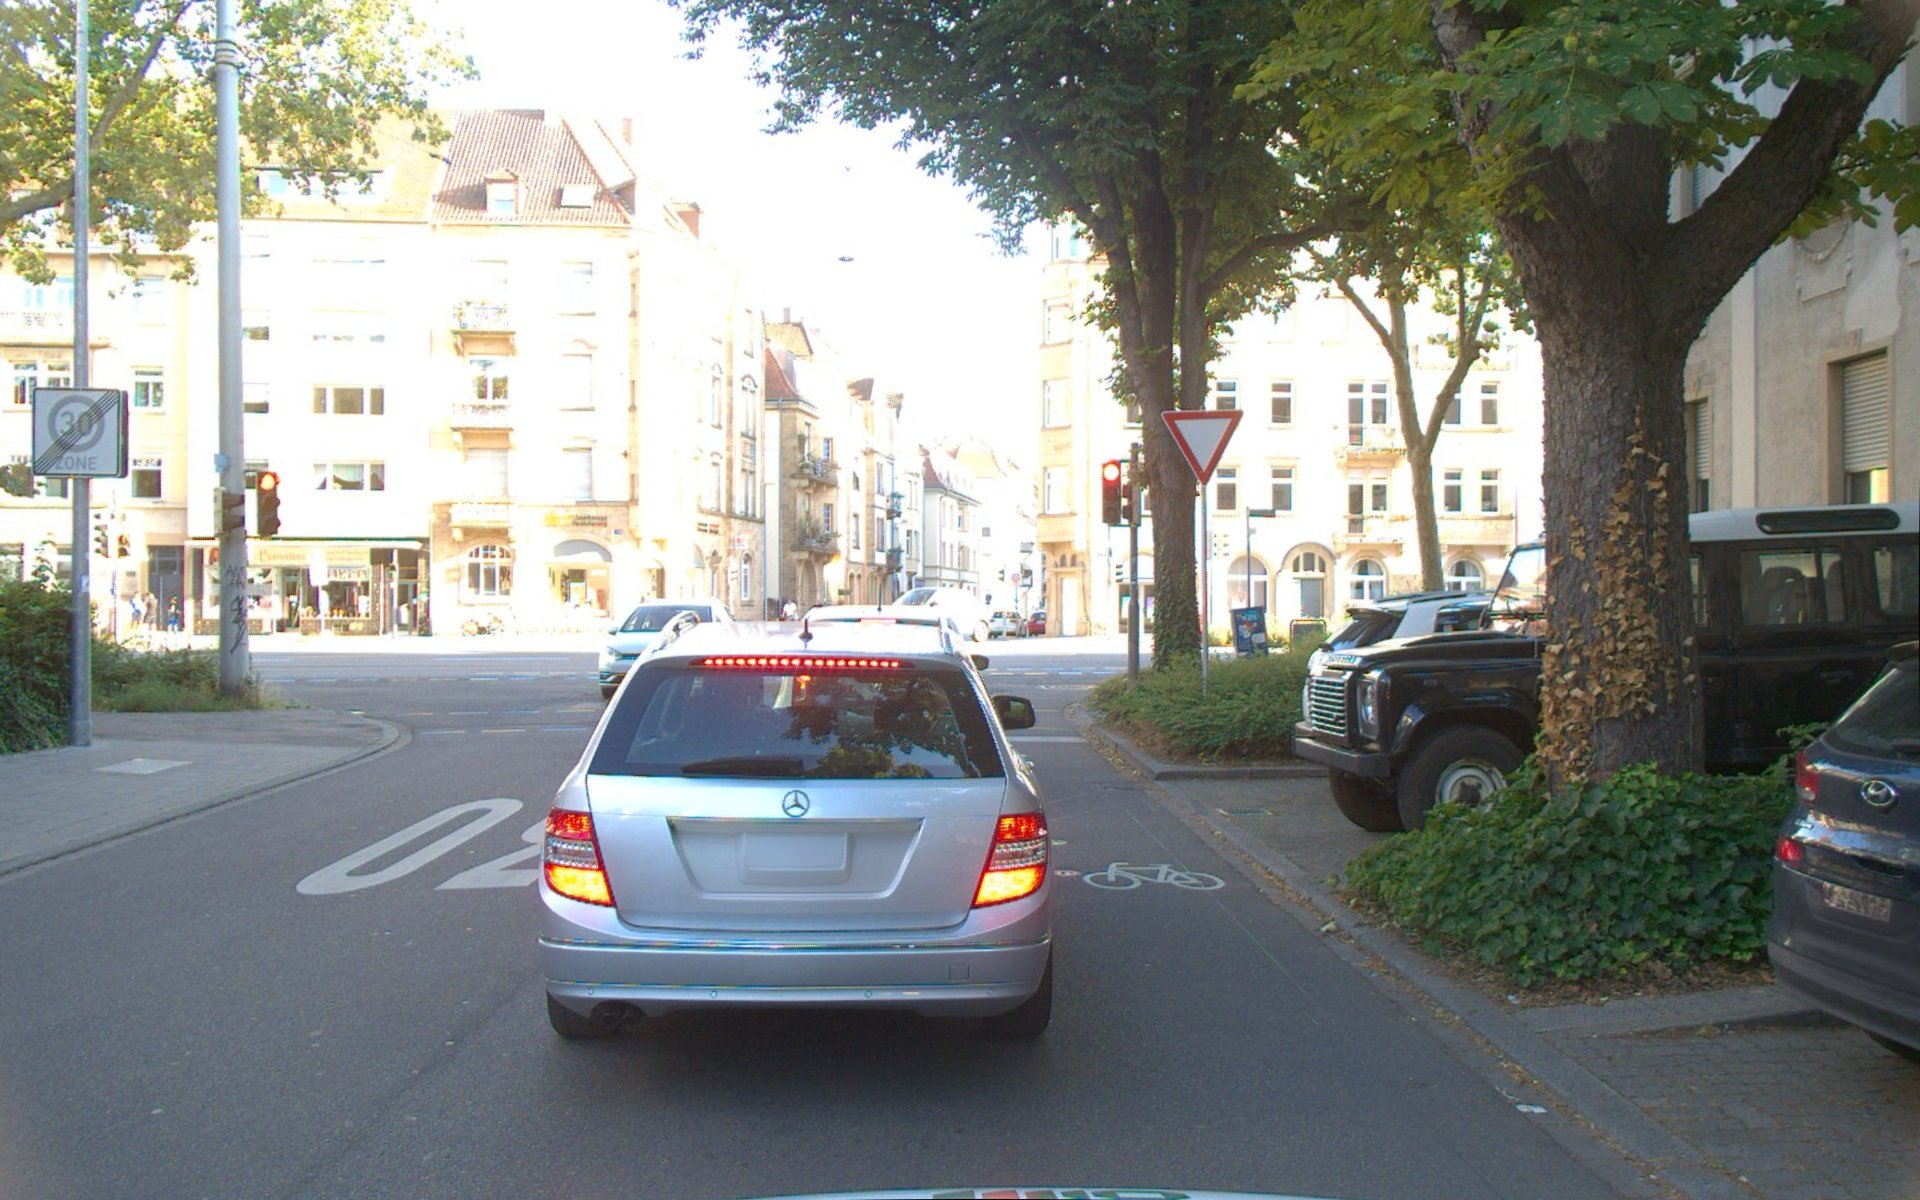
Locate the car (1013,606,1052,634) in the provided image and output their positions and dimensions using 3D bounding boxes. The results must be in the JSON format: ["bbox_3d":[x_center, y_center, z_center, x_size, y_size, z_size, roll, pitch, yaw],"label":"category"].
[{"bbox_3d":[4.485,1.197,102.128,1.684,1.503,4.004,-4,0,11],"label":"car"}]

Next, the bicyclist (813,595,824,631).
[{"bbox_3d":[-6.258,0.573,73.238,0.457,1.547,0.693,0,0,-4],"label":"bicyclist"}]

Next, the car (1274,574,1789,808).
[{"bbox_3d":[4.400,0.652,13.014,3.415,1.614,1.708,-1,0,-7],"label":"car"}]

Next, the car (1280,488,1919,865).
[{"bbox_3d":[4.402,0.394,10.230,4.402,1.990,1.791,-2,0,-4],"label":"car"}]

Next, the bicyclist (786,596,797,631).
[{"bbox_3d":[-7.469,0.572,73.220,0.457,1.541,0.655,0,0,-4],"label":"bicyclist"}]

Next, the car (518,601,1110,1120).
[{"bbox_3d":[-0.505,0.750,6.458,1.657,1.454,3.490,1,0,-3],"label":"car"}]

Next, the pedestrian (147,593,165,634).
[{"bbox_3d":[-30.358,0.515,62.434,0.557,1.537,0.499,0,0,-20],"label":"pedestrian"}]

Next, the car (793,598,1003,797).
[{"bbox_3d":[-0.517,0.703,13.721,1.502,1.415,3.597,0,0,-2],"label":"car"}]

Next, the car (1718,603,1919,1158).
[{"bbox_3d":[4.321,0.680,4.584,3.675,1.446,1.627,-2,-1,-4],"label":"car"}]

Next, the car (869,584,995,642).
[{"bbox_3d":[-0.761,0.330,46.436,1.591,1.527,3.572,0,1,41],"label":"car"}]

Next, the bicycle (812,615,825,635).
[{"bbox_3d":[-6.254,1.096,73.222,0.557,0.849,1.564,0,0,-4],"label":"bicycle"}]

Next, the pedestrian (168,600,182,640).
[{"bbox_3d":[-30.184,0.769,63.586,0.466,1.537,0.428,0,0,-21],"label":"pedestrian"}]

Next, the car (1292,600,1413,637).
[{"bbox_3d":[11.814,0.560,49.896,3.296,1.087,1.380,0,0,-2],"label":"car"}]

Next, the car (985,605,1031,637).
[{"bbox_3d":[2.513,1.065,85.775,1.684,1.504,4.004,-2,0,11],"label":"car"}]

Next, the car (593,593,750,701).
[{"bbox_3d":[-4.391,0.660,25.743,1.745,1.487,4.299,0,1,-1],"label":"car"}]

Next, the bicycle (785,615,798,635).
[{"bbox_3d":[-7.462,1.108,73.276,0.557,0.849,1.564,0,0,-4],"label":"bicycle"}]

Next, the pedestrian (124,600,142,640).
[{"bbox_3d":[-32.021,0.784,64.050,0.532,1.537,0.502,0,0,-43],"label":"pedestrian"}]

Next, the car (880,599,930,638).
[{"bbox_3d":[-2.817,0.935,85.551,1.896,1.993,4.153,0,0,7],"label":"car"}]
